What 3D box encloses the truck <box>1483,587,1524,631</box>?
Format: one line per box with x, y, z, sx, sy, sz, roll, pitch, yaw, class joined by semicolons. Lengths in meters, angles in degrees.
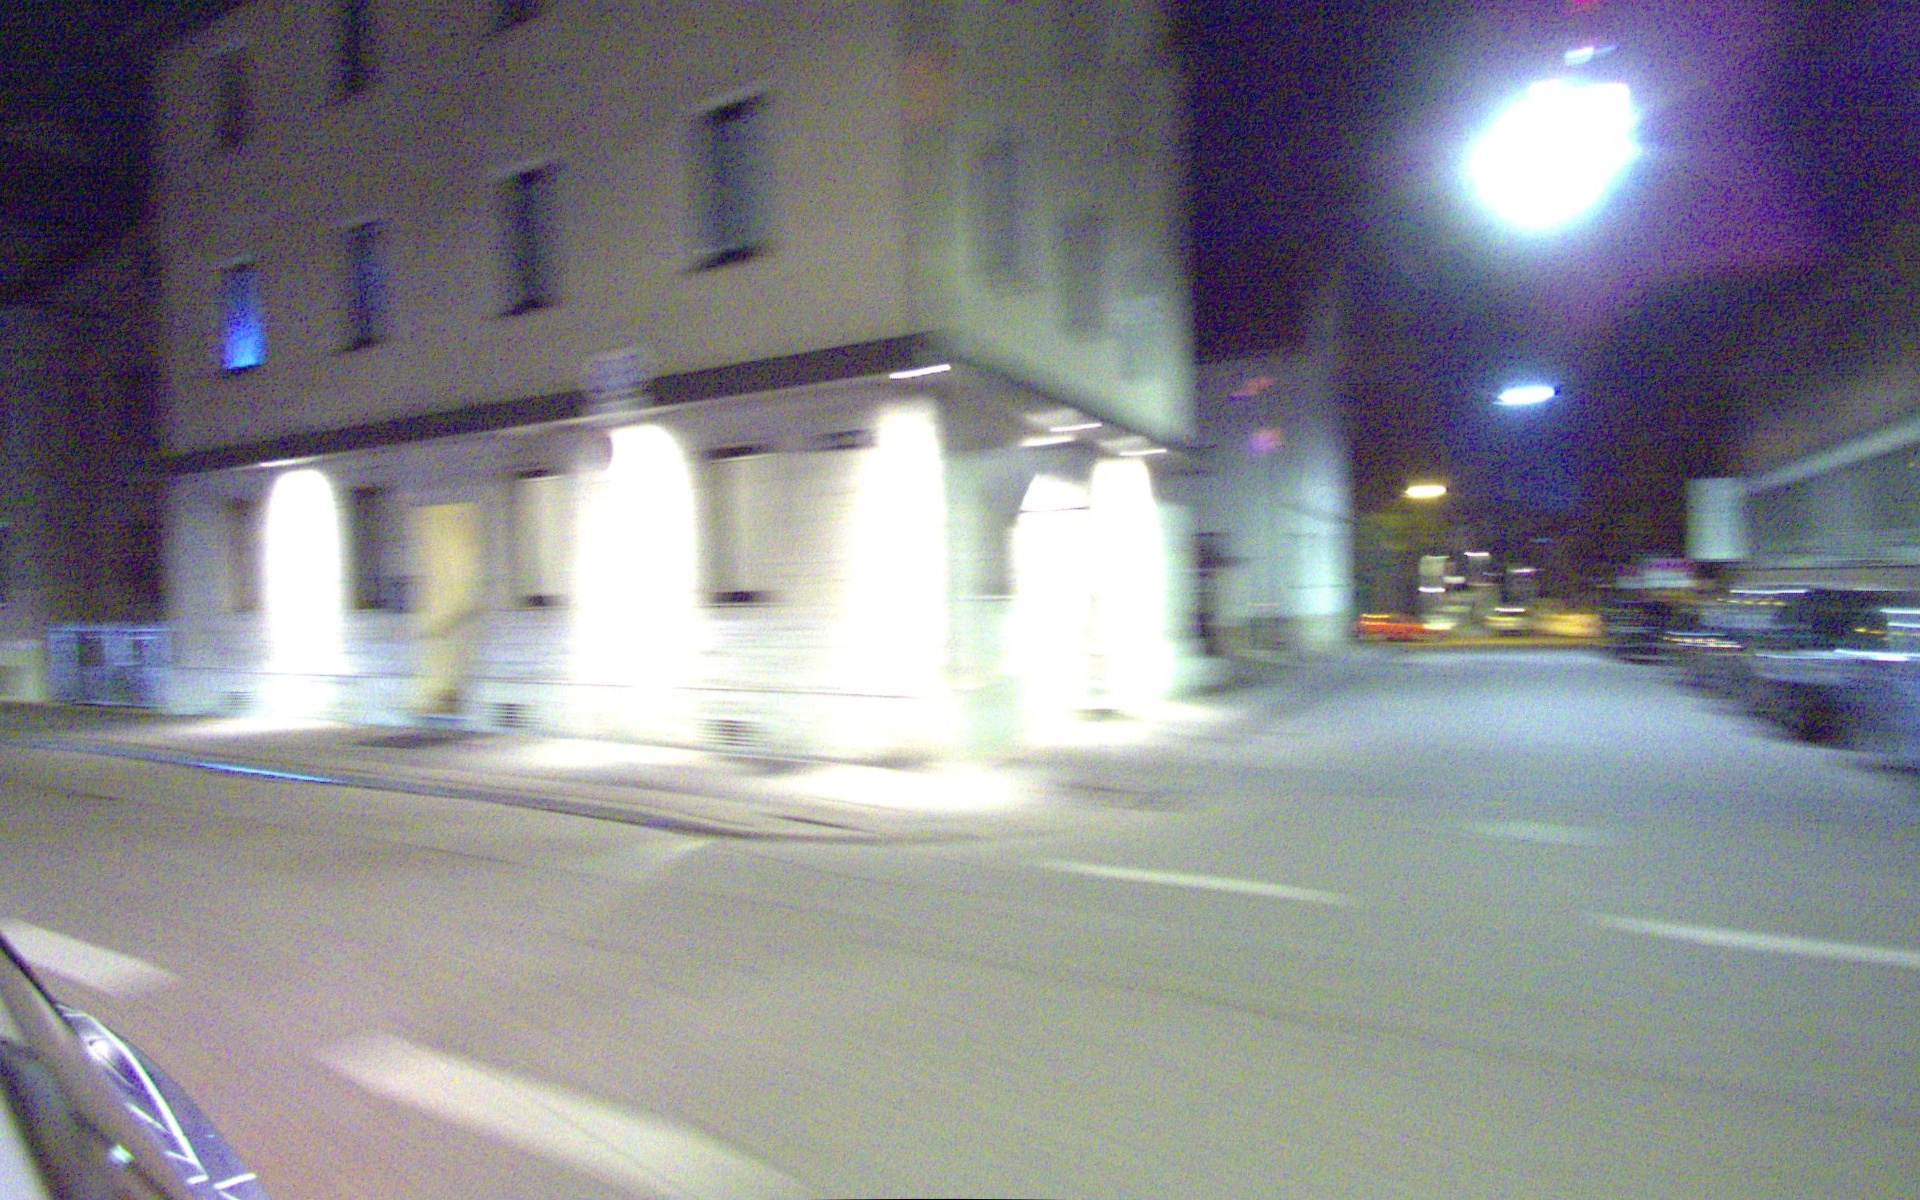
45.217;0.811;84.223;2.777;3.443;7.298;-2;-2;28;truck

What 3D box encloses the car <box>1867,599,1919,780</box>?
8.770;0.755;8.201;1.483;1.525;2.791;-1;0;29;car

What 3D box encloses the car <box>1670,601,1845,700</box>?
13.267;0.763;17.059;1.732;1.482;3.549;-1;-1;29;car

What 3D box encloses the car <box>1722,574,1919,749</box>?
10.522;0.634;12.073;1.711;1.779;3.845;-1;-1;29;car

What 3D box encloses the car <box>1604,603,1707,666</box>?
17.831;0.823;26.105;1.742;1.468;3.961;1;0;28;car

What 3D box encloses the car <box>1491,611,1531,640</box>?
29.997;1.360;55.046;1.799;1.488;3.878;-2;-2;29;car

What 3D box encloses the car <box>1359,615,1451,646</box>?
22.736;1.562;51.832;3.954;1.408;1.797;-2;0;9;car
